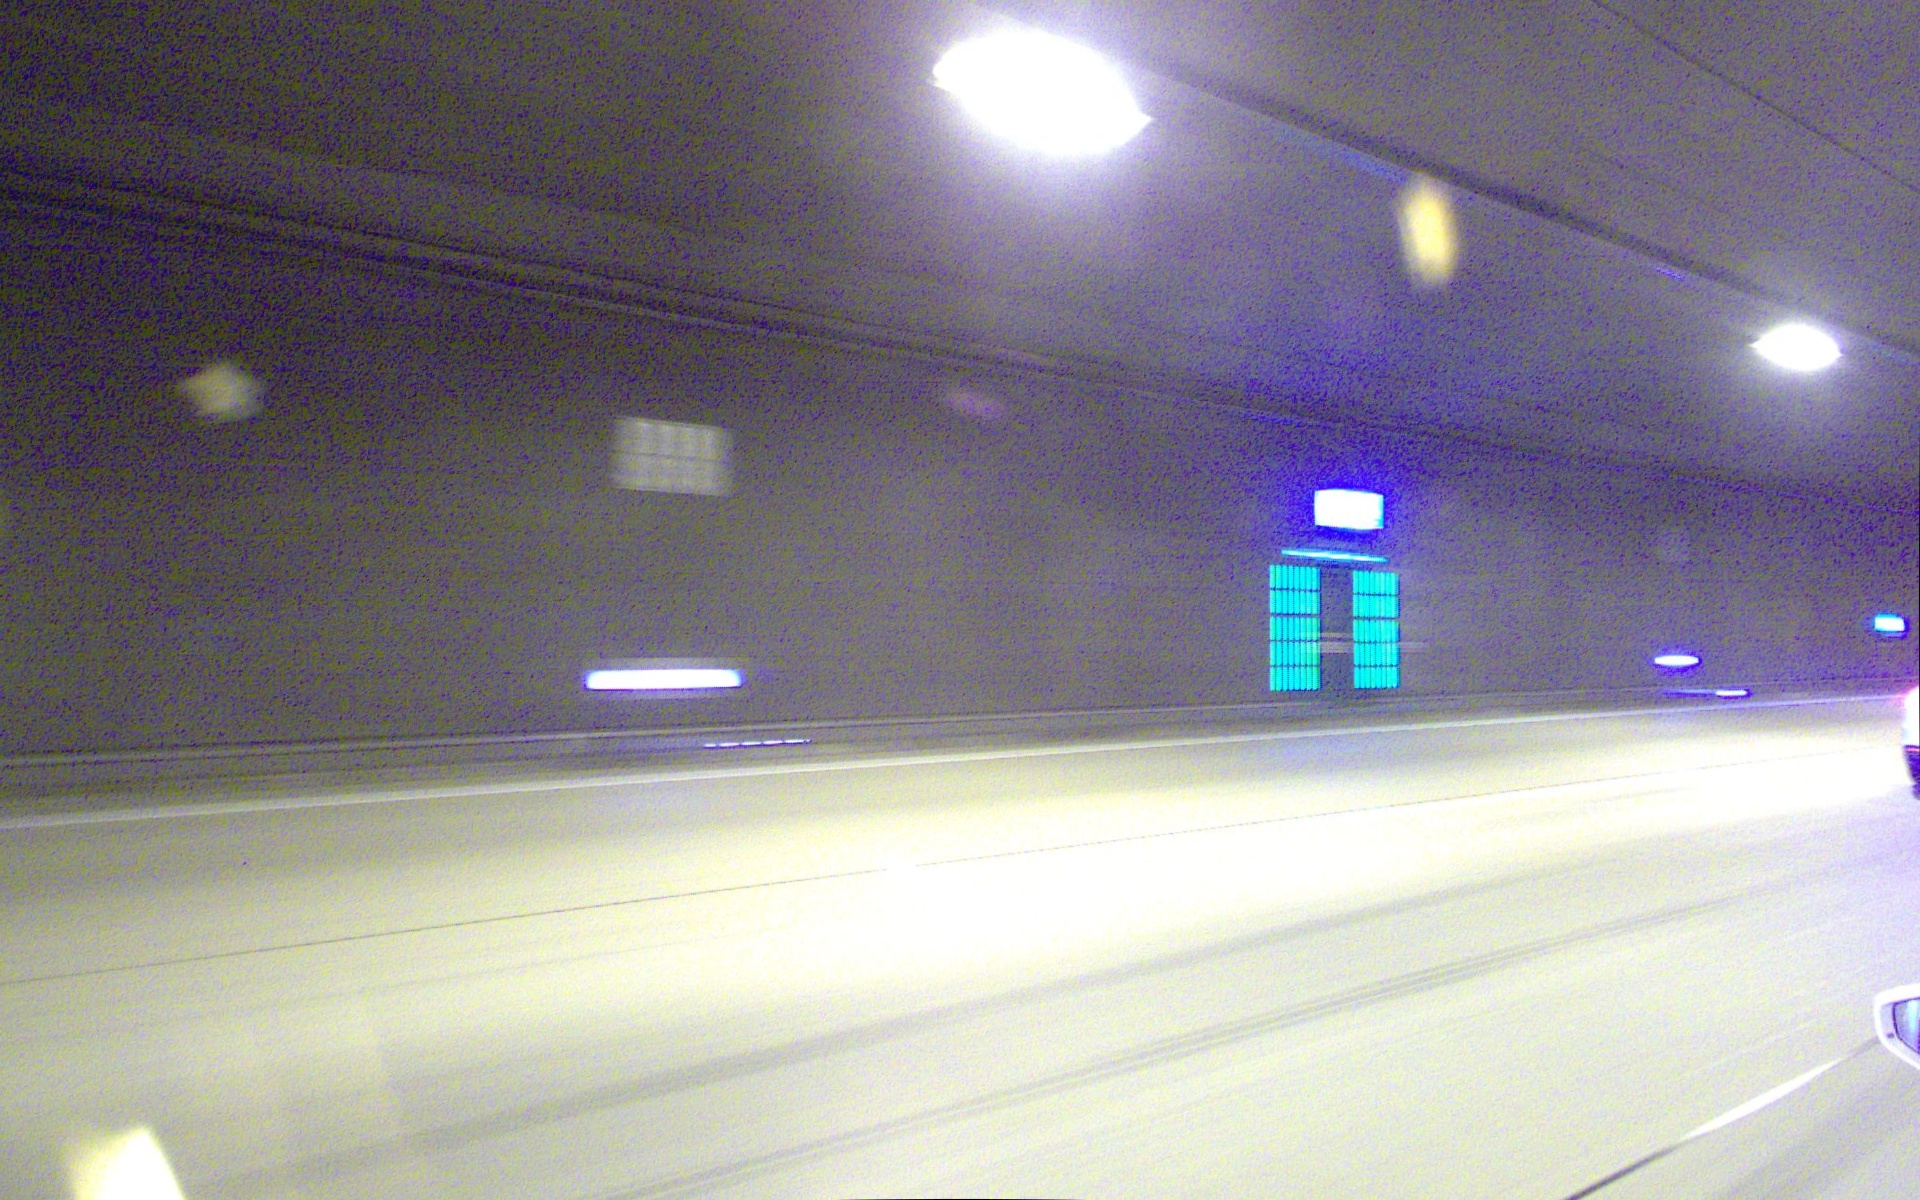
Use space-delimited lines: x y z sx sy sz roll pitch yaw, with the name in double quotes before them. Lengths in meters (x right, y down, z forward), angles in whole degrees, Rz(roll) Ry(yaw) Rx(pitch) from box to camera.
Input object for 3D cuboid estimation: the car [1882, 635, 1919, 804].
"car" 10.673 1.072 9.332 5.000 1.438 1.694 1 0 -30
